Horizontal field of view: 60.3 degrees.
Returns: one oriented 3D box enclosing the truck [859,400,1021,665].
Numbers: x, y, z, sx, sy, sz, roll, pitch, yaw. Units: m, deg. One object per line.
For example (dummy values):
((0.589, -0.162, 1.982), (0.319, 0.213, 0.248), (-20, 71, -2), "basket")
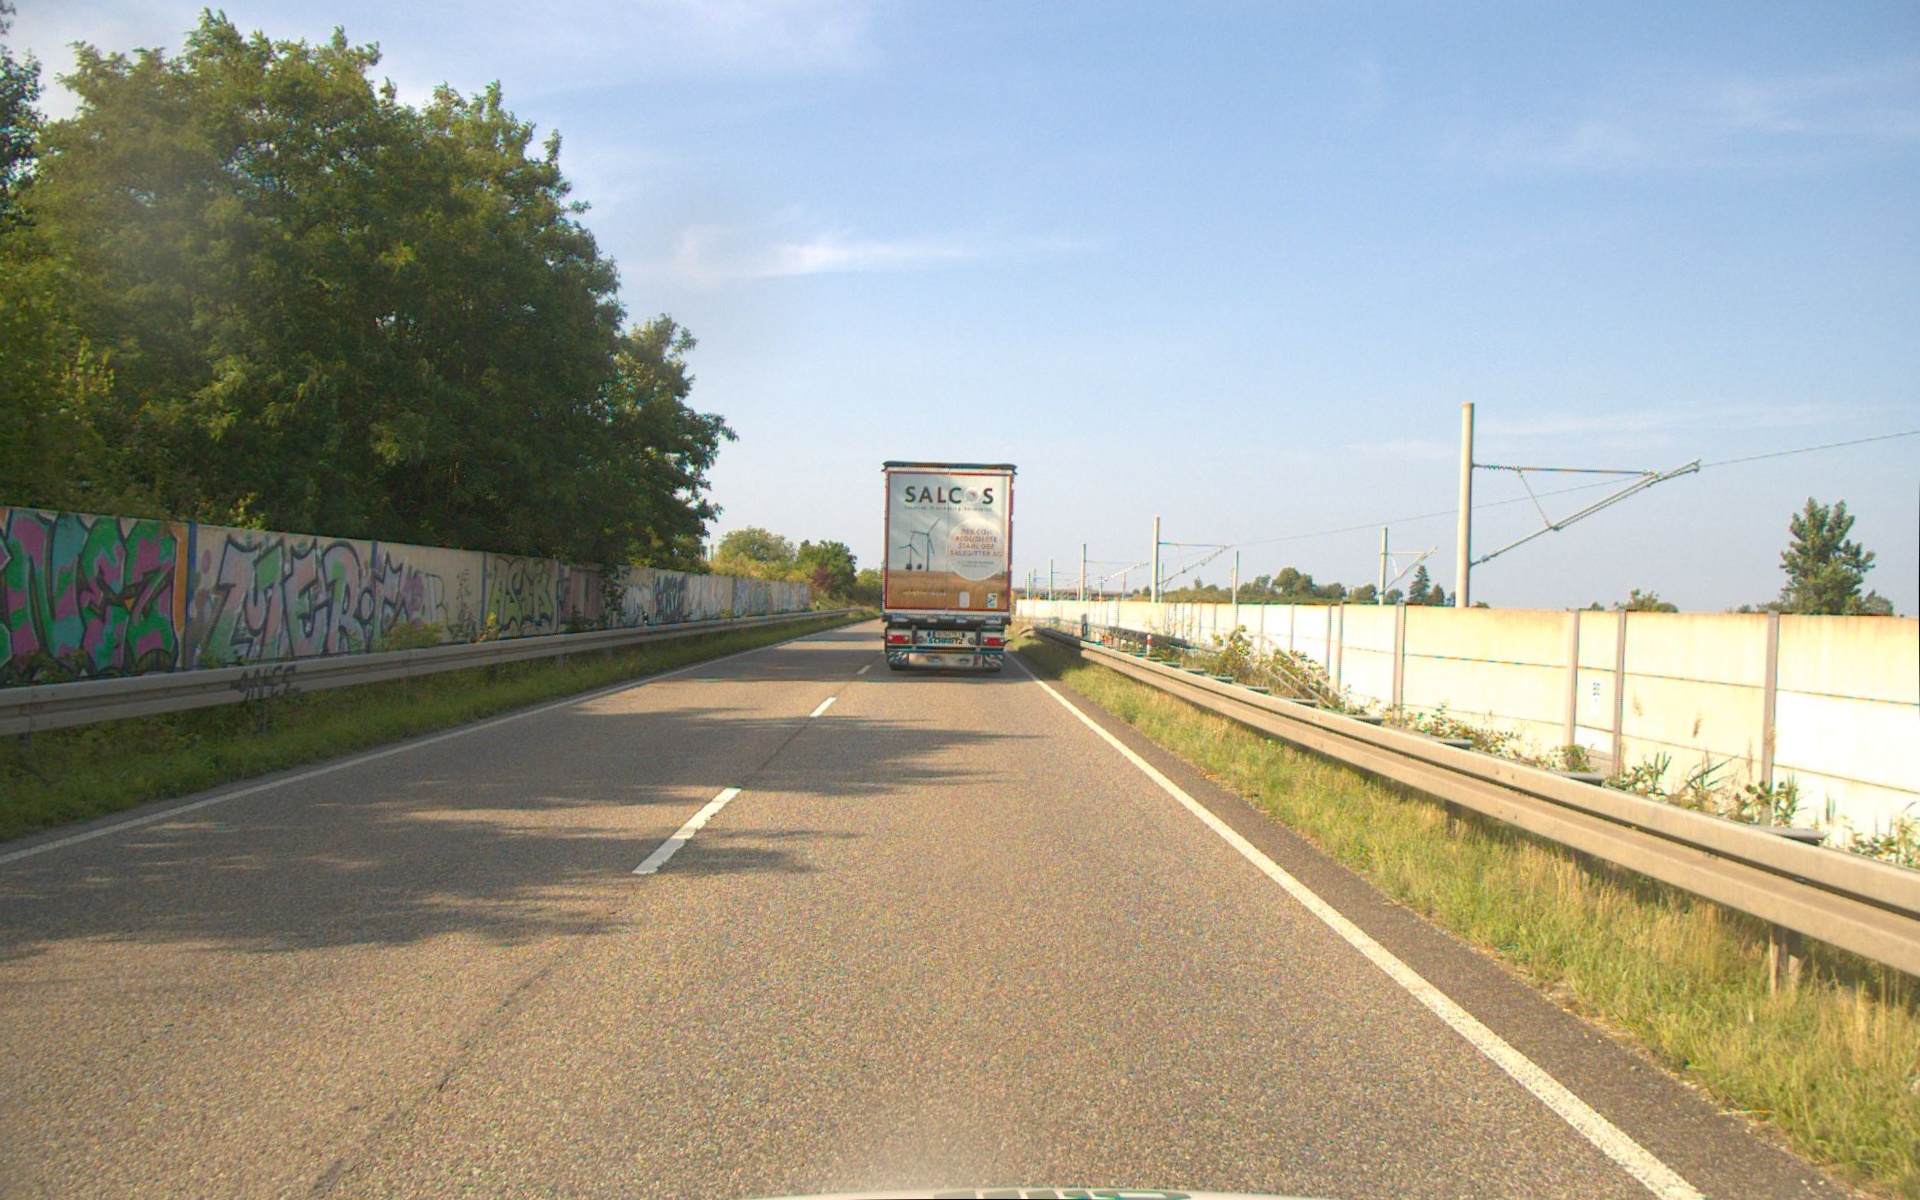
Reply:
((-0.509, -1.298, 37.558), (2.971, 5.006, 11.680), (1, 0, -1), "truck")
